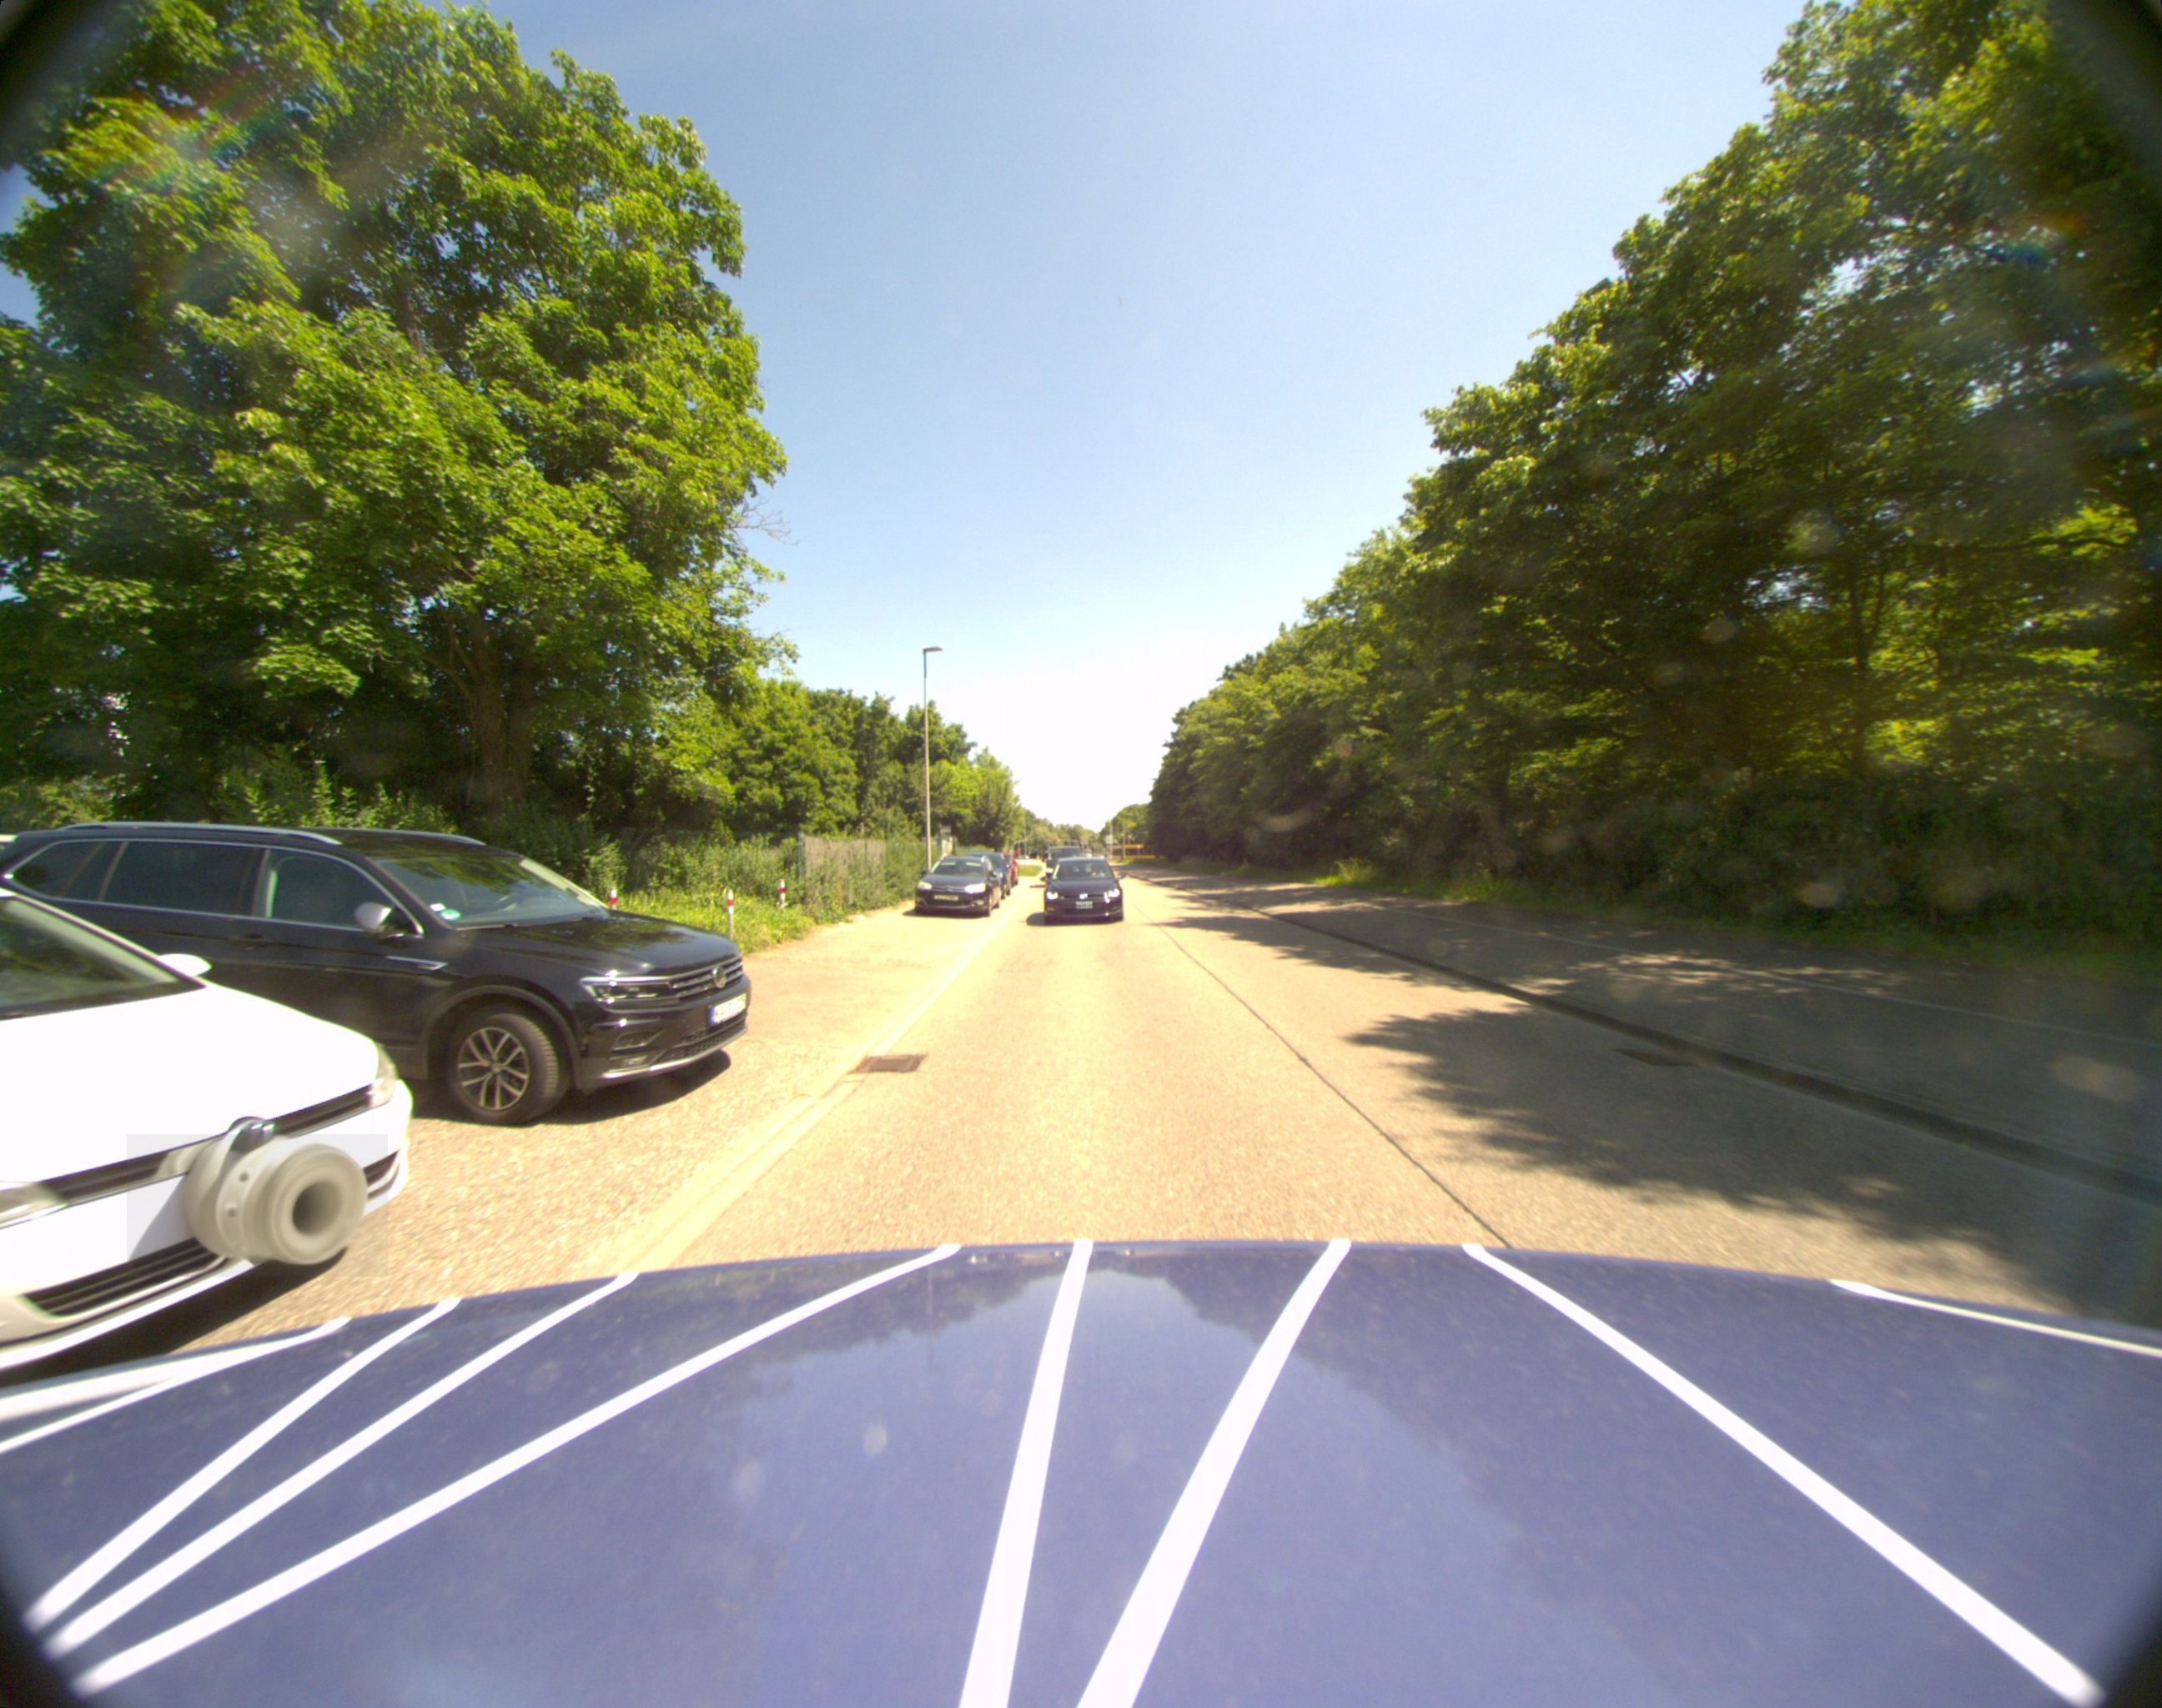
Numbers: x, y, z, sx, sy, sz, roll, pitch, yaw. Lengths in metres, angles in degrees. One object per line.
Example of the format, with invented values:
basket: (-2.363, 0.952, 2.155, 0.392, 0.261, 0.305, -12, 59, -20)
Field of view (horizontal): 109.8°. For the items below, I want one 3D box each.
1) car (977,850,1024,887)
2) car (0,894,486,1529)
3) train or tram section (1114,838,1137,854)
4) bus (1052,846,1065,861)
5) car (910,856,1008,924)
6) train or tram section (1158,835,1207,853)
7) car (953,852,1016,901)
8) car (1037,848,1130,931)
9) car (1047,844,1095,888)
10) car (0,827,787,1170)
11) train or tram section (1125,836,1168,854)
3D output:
car: (-3.824, 0.656, 36.761, 1.794, 1.648, 4.451, 2, 0, -1)
car: (-4.632, 0.916, 2.528, 4.005, 1.444, 1.832, 1, 1, 6)
train or tram section: (9.719, -1.774, 168.736, 2.579, 3.446, 10.844, -2, 0, -10)
bus: (-5.212, -0.116, 175.582, 2.932, 3.248, 8.327, -2, 0, -3)
car: (-3.067, 0.847, 19.984, 1.794, 1.473, 4.664, 4, 0, -1)
train or tram section: (20.315, -1.987, 152.933, 9.328, 3.446, 2.788, -2, 1, 30)
car: (-3.357, 0.756, 27.129, 1.794, 1.594, 4.129, -1, 0, -1)
car: (0.043, 0.745, 18.357, 1.887, 1.668, 4.662, -3, 0, 0)
car: (-0.574, 0.565, 37.435, 2.002, 1.965, 4.448, -2, 0, -5)
car: (-4.620, 0.772, 5.108, 4.481, 1.694, 1.914, 2, 0, 1)
train or tram section: (13.661, -1.818, 159.164, 2.656, 3.446, 10.827, -3, 1, -35)
